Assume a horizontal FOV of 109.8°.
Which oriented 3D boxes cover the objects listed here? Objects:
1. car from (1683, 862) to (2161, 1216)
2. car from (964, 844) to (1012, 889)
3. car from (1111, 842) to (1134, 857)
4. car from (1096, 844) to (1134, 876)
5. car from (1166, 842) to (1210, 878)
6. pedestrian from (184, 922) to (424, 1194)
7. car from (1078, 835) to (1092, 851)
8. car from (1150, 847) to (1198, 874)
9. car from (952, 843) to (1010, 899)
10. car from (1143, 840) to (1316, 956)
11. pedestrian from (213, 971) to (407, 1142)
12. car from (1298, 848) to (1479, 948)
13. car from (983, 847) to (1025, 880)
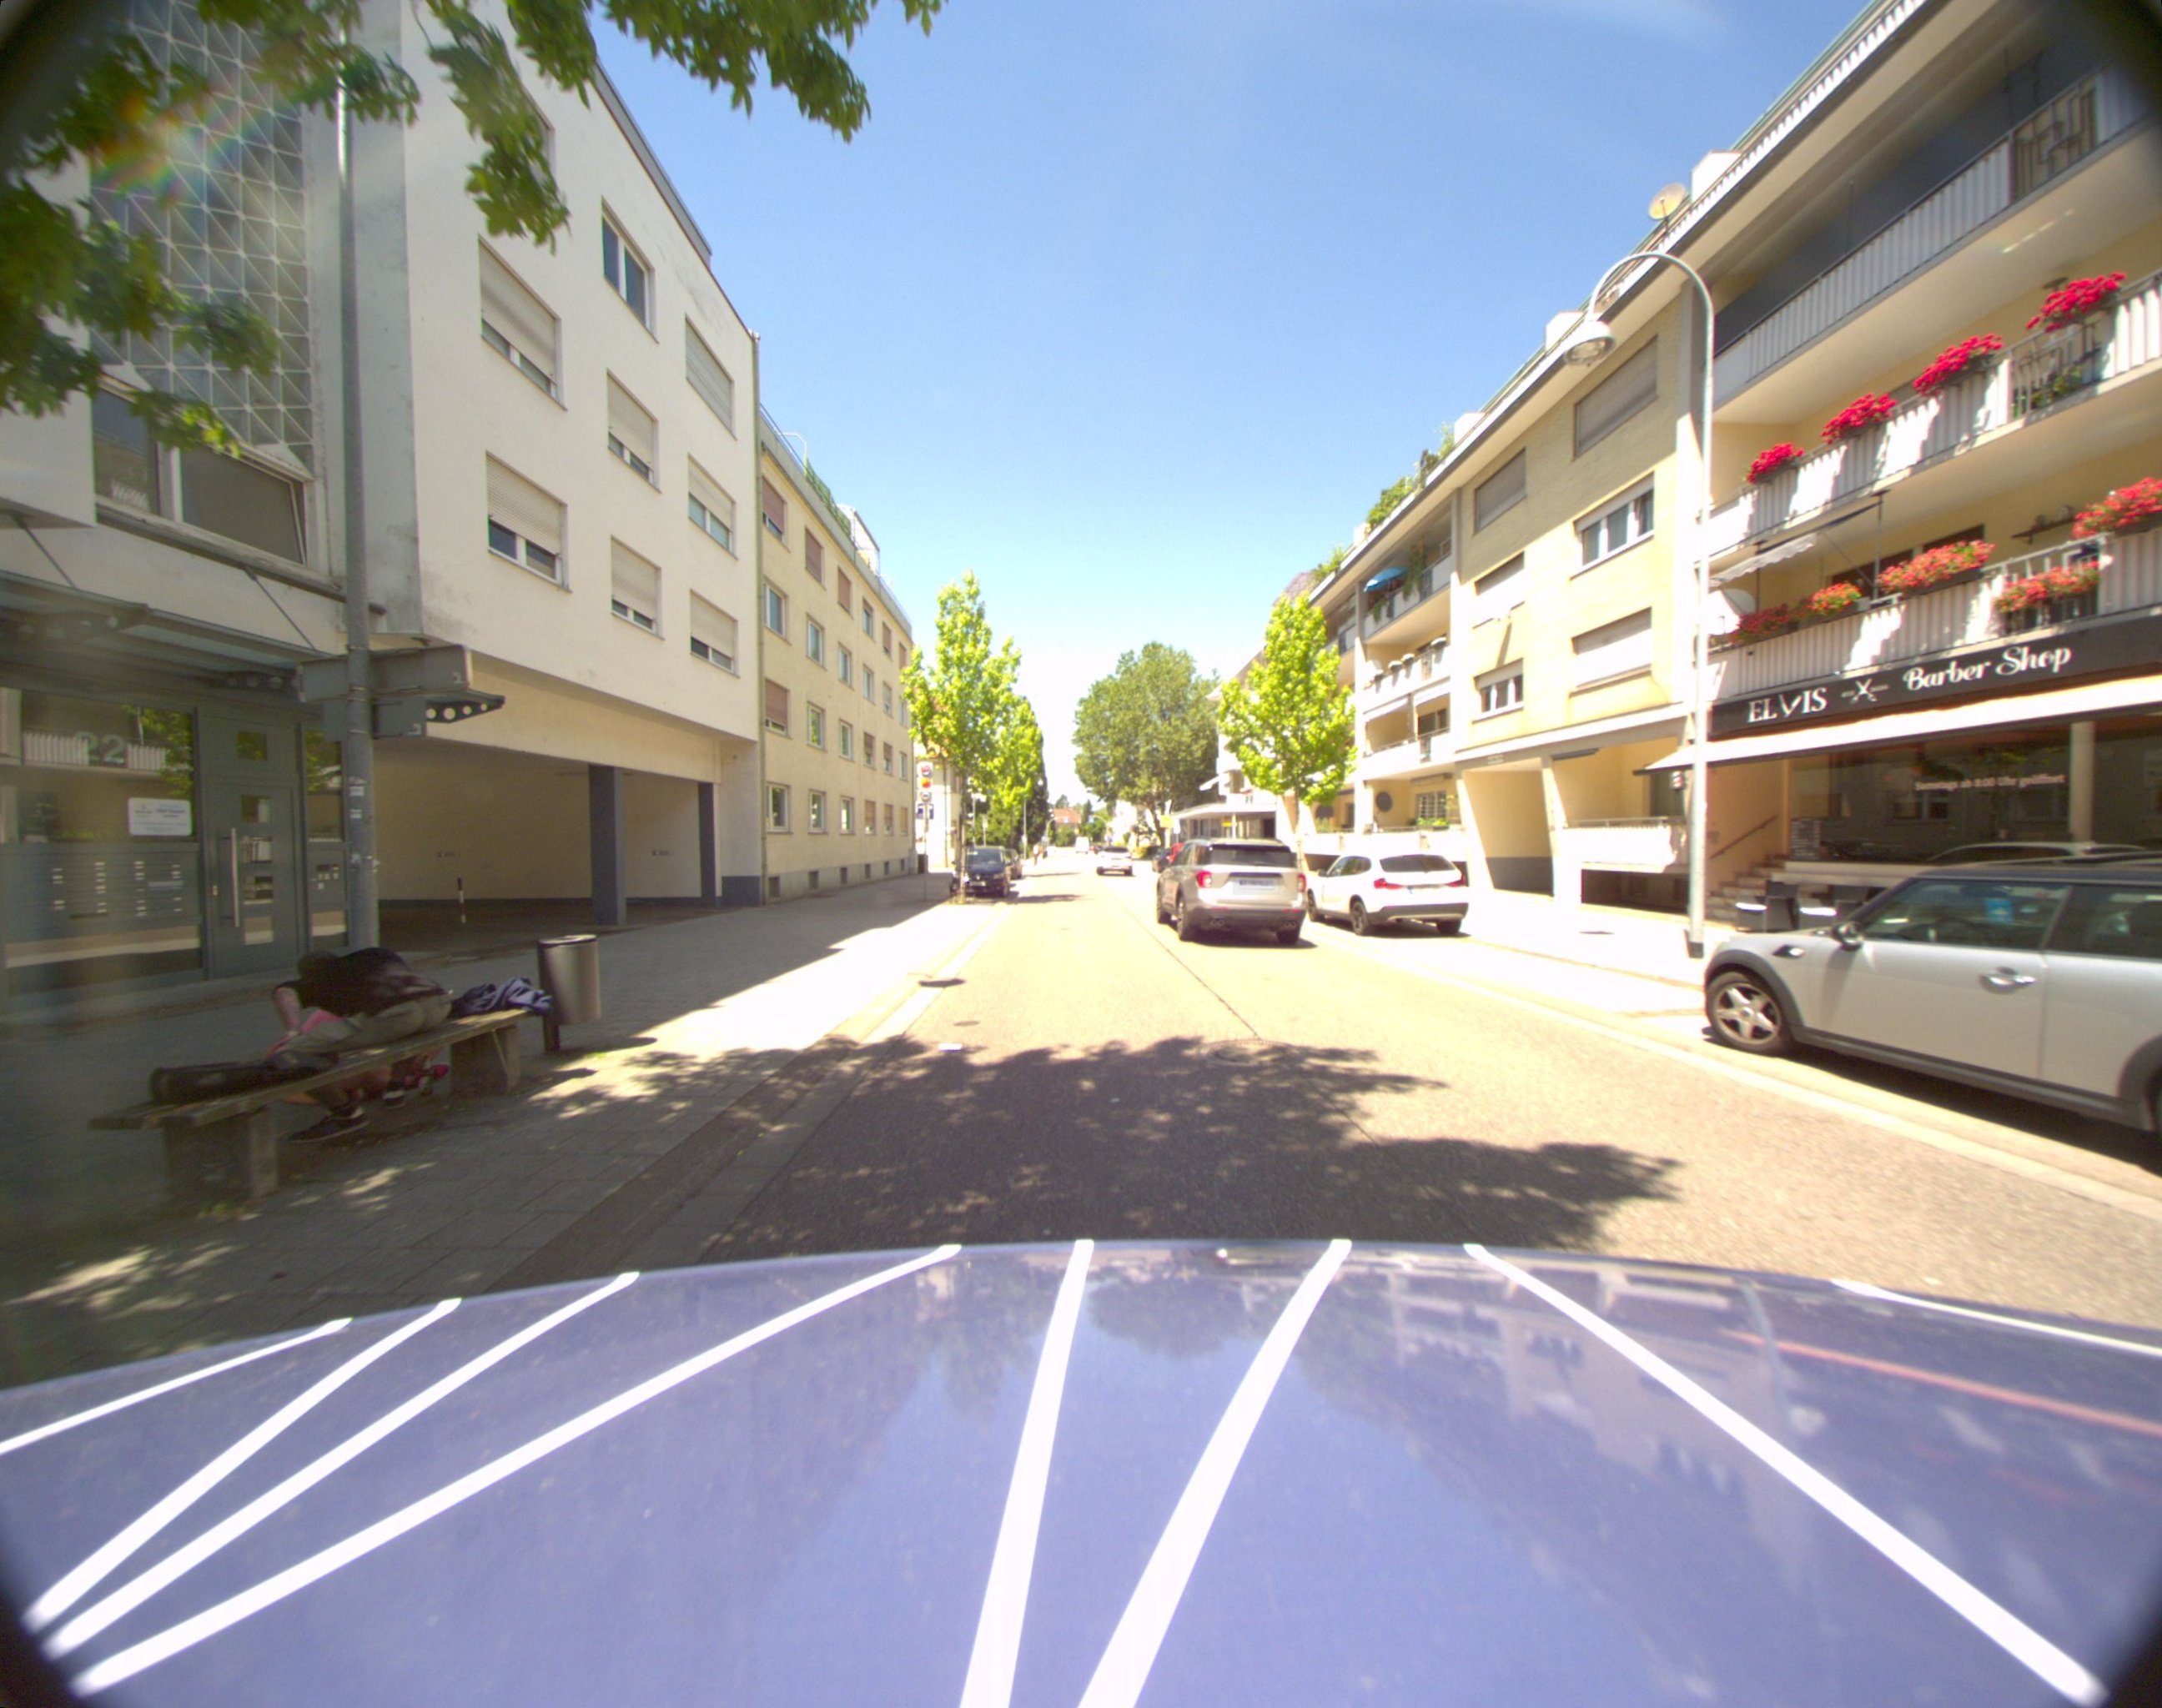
[{"bbox_3d":[5.537,0.833,4.172,1.626,1.465,3.547,-1,1,-1],"label":"car"},{"bbox_3d":[-3.755,0.457,31.246,1.693,1.712,4.132,-1,1,-4],"label":"car"},{"bbox_3d":[4.144,-0.467,76.235,1.999,1.499,3.999,-1,1,-1],"label":"car"},{"bbox_3d":[1.795,0.285,41.302,1.776,1.623,4.298,0,1,-2],"label":"car"},{"bbox_3d":[5.306,0.271,38.145,1.645,1.652,3.369,-2,1,-1],"label":"car"},{"bbox_3d":[-4.034,1.009,3.975,0.761,1.233,0.538,0,2,13],"label":"pedestrian"},{"bbox_3d":[0.716,-1.845,126.798,2.232,2.452,5.247,-1,1,-1],"label":"car"},{"bbox_3d":[5.343,0.349,44.150,1.999,1.455,3.998,-2,1,-4],"label":"car"},{"bbox_3d":[-3.316,0.515,25.803,1.693,1.712,3.998,2,1,-4],"label":"car"},{"bbox_3d":[2.442,0.634,13.848,1.906,1.744,4.754,0,1,-4],"label":"car"},{"bbox_3d":[-4.655,1.193,4.612,0.678,0.847,0.538,1,2,13],"label":"pedestrian"},{"bbox_3d":[5.700,0.713,14.709,1.699,1.583,4.298,-1,1,-1],"label":"car"},{"bbox_3d":[-3.797,0.429,37.926,1.693,1.479,4.133,-1,1,-1],"label":"car"}]
